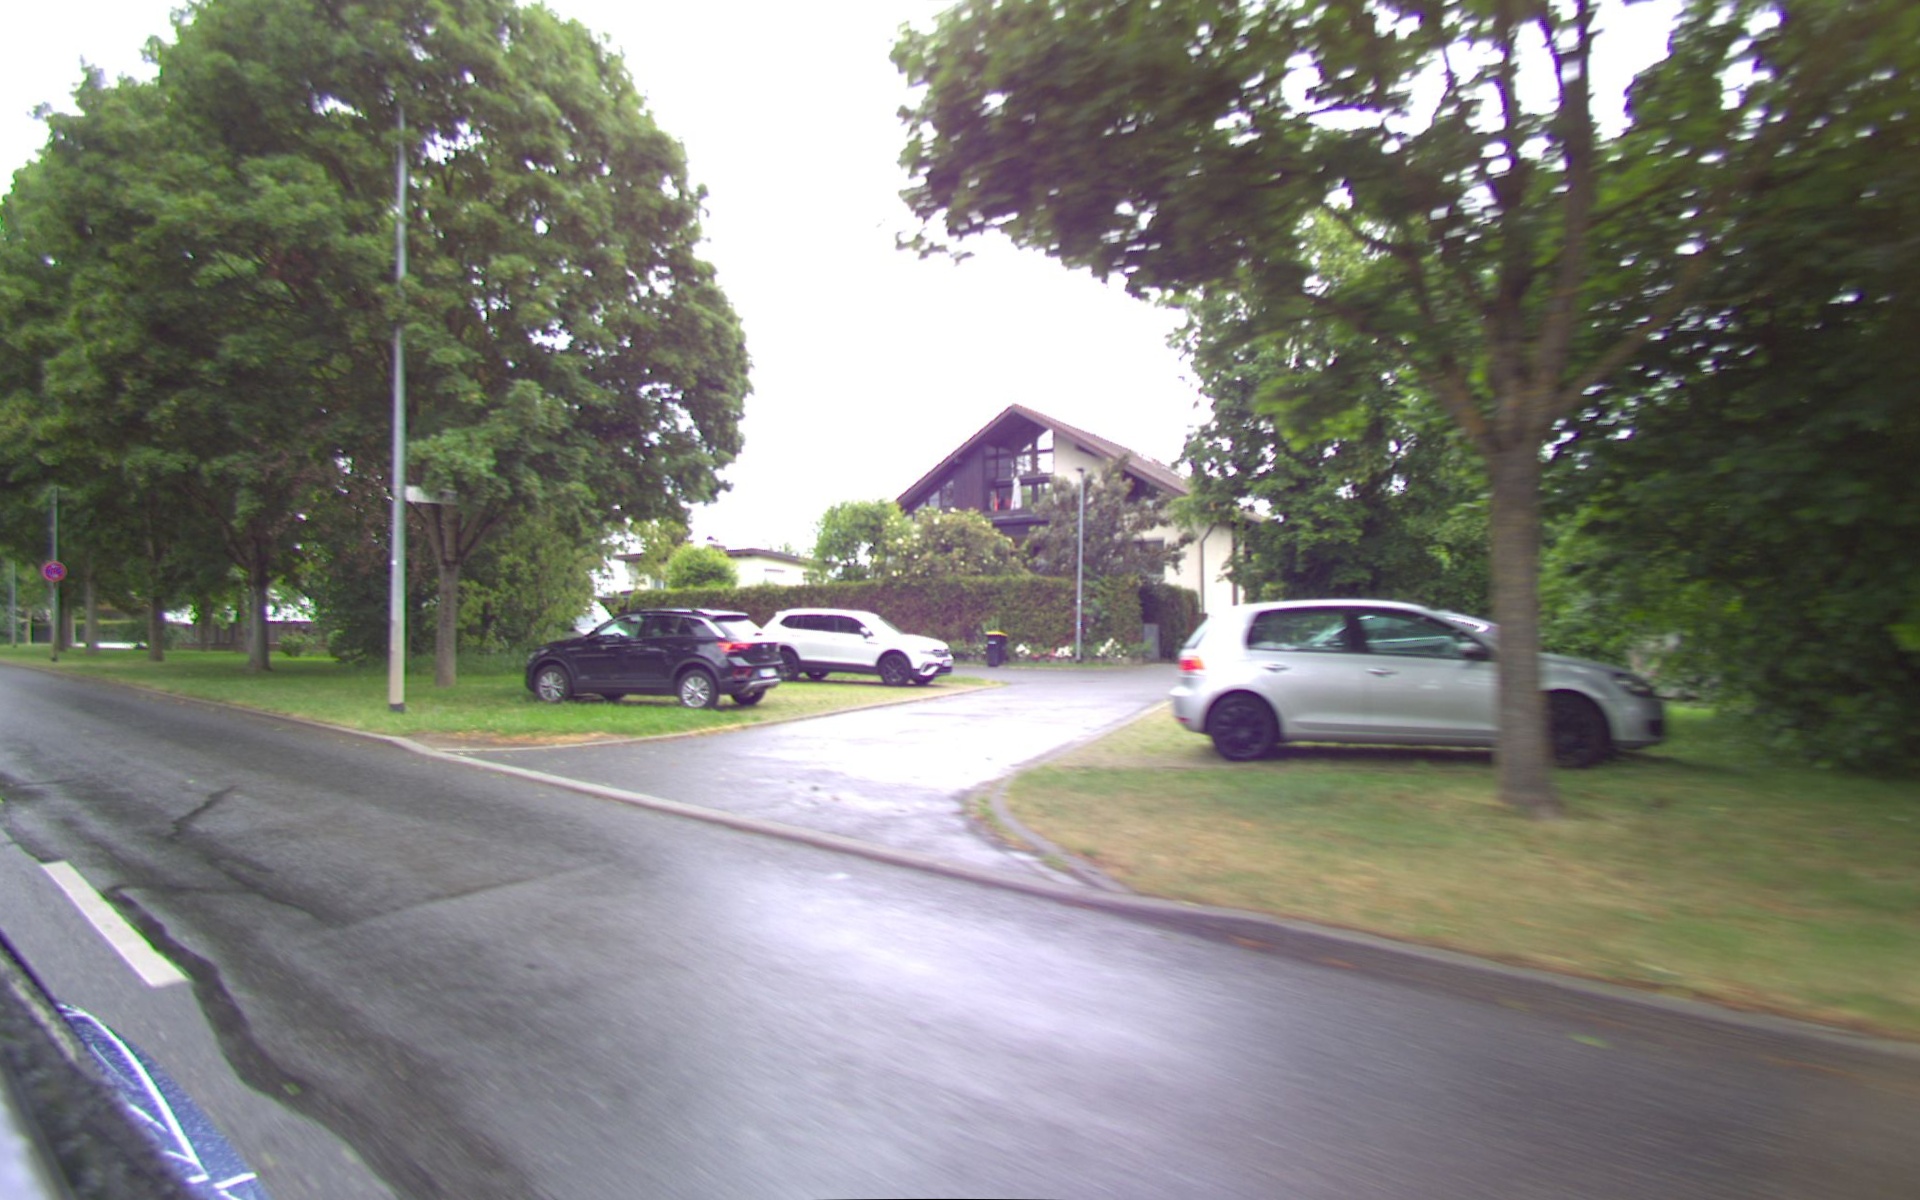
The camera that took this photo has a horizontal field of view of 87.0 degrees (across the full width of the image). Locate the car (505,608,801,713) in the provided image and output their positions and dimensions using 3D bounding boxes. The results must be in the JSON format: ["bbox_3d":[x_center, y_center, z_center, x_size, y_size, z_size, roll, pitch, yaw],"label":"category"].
[{"bbox_3d":[-4.885,0.916,16.251,4.212,1.525,1.884,0,-2,17],"label":"car"}]

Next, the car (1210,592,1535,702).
[{"bbox_3d":[6.509,0.782,16.473,4.568,1.520,1.857,-3,-3,18],"label":"car"}]

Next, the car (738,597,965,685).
[{"bbox_3d":[-2.495,0.886,23.297,4.864,1.783,1.896,1,-1,22],"label":"car"}]

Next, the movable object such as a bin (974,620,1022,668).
[{"bbox_3d":[1.255,1.418,32.970,1.165,1.478,1.075,-1,1,32],"label":"movable object such as a bin"}]

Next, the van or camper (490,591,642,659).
[{"bbox_3d":[-14.743,0.956,37.697,6.134,2.353,2.073,-1,-2,33],"label":"van or camper"}]

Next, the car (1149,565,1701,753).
[{"bbox_3d":[4.070,0.586,9.462,4.190,1.441,1.872,-3,-3,23],"label":"car"}]
